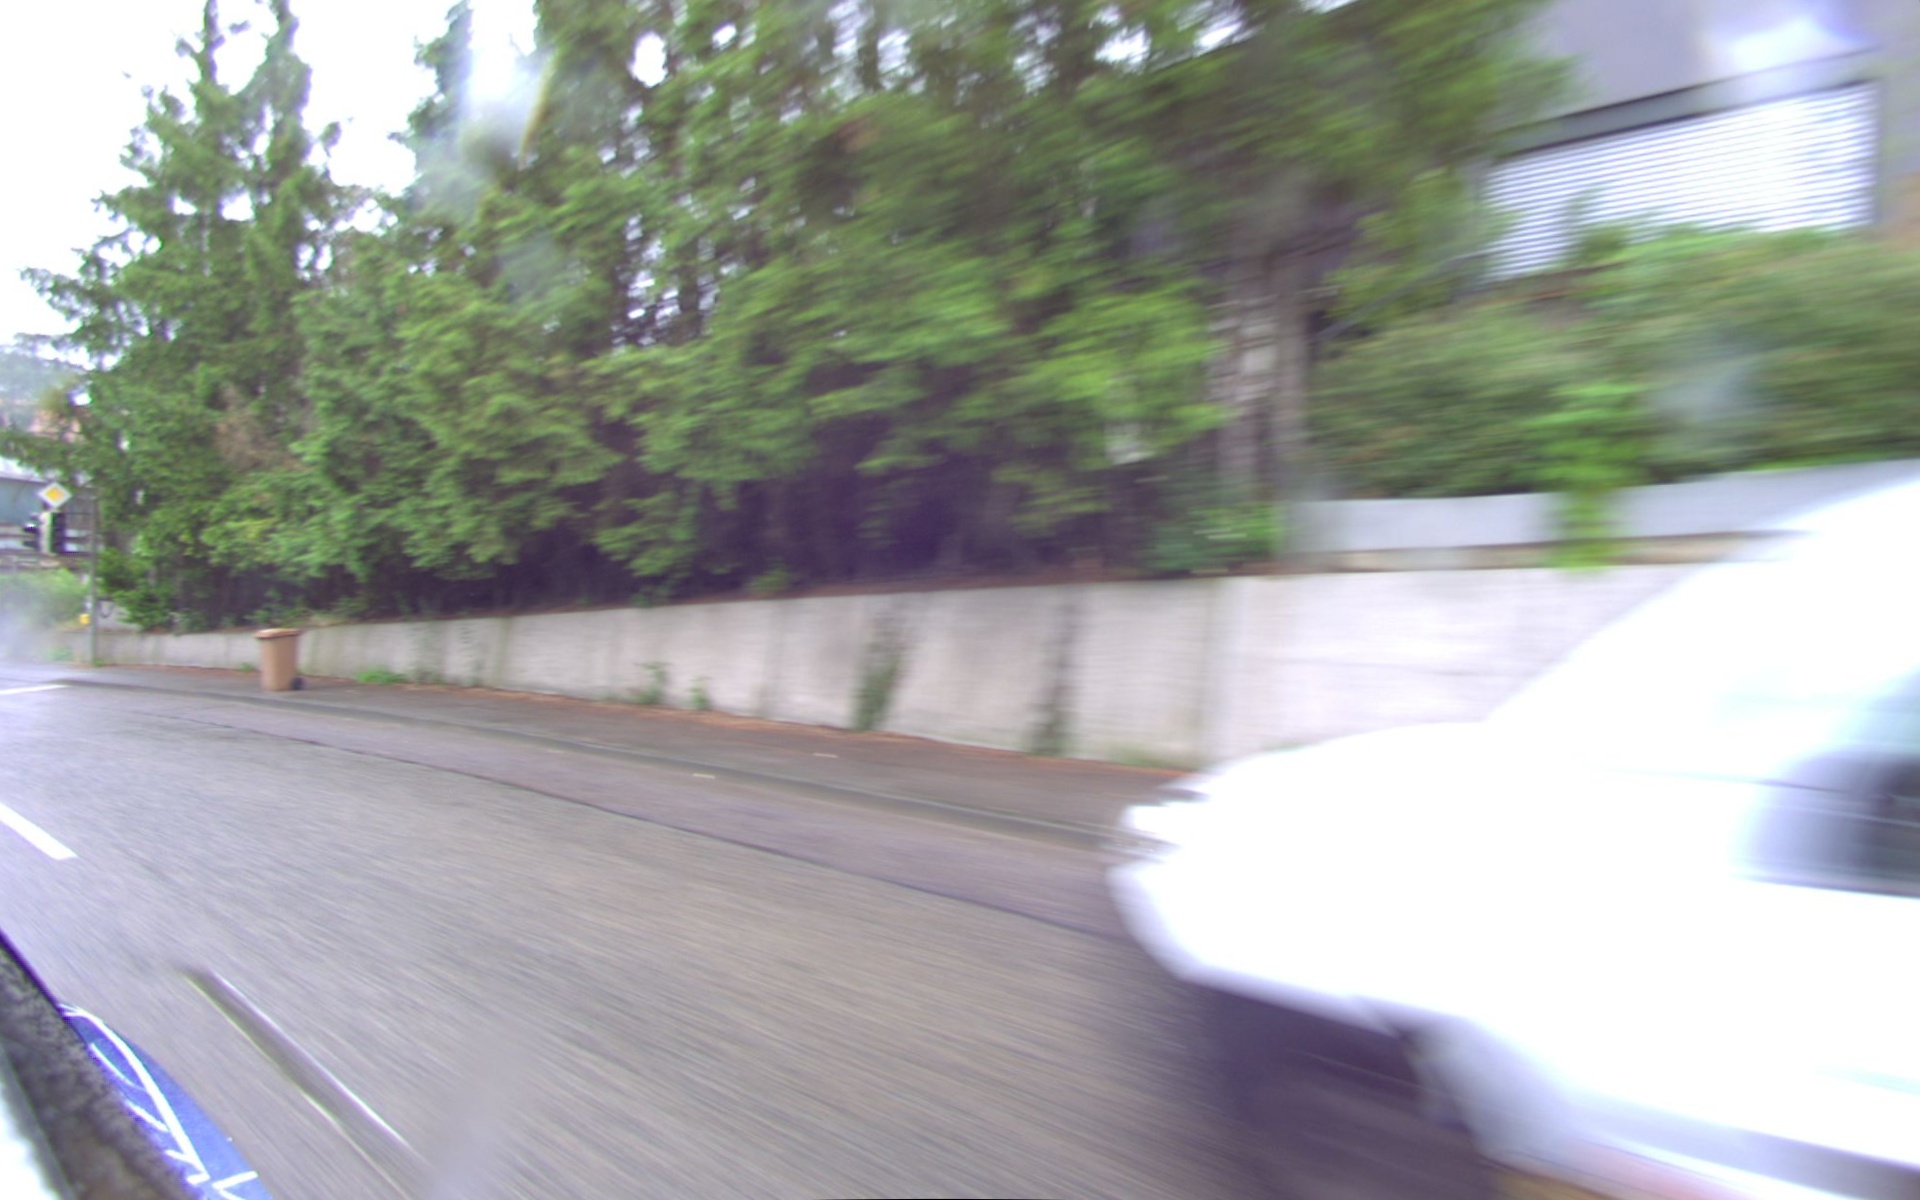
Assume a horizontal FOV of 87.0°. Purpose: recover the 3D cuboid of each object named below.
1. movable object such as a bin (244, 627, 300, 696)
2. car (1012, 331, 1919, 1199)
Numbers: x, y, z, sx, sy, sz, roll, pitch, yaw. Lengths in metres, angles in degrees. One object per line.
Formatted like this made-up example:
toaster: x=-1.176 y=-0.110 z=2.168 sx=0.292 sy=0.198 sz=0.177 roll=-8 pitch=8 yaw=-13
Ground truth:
movable object such as a bin: x=-10.414 y=0.918 z=15.323 sx=0.489 sy=0.986 sz=0.496 roll=-1 pitch=3 yaw=33
car: x=2.392 y=0.470 z=1.766 sx=4.419 sy=1.768 sz=1.820 roll=-1 pitch=1 yaw=42
